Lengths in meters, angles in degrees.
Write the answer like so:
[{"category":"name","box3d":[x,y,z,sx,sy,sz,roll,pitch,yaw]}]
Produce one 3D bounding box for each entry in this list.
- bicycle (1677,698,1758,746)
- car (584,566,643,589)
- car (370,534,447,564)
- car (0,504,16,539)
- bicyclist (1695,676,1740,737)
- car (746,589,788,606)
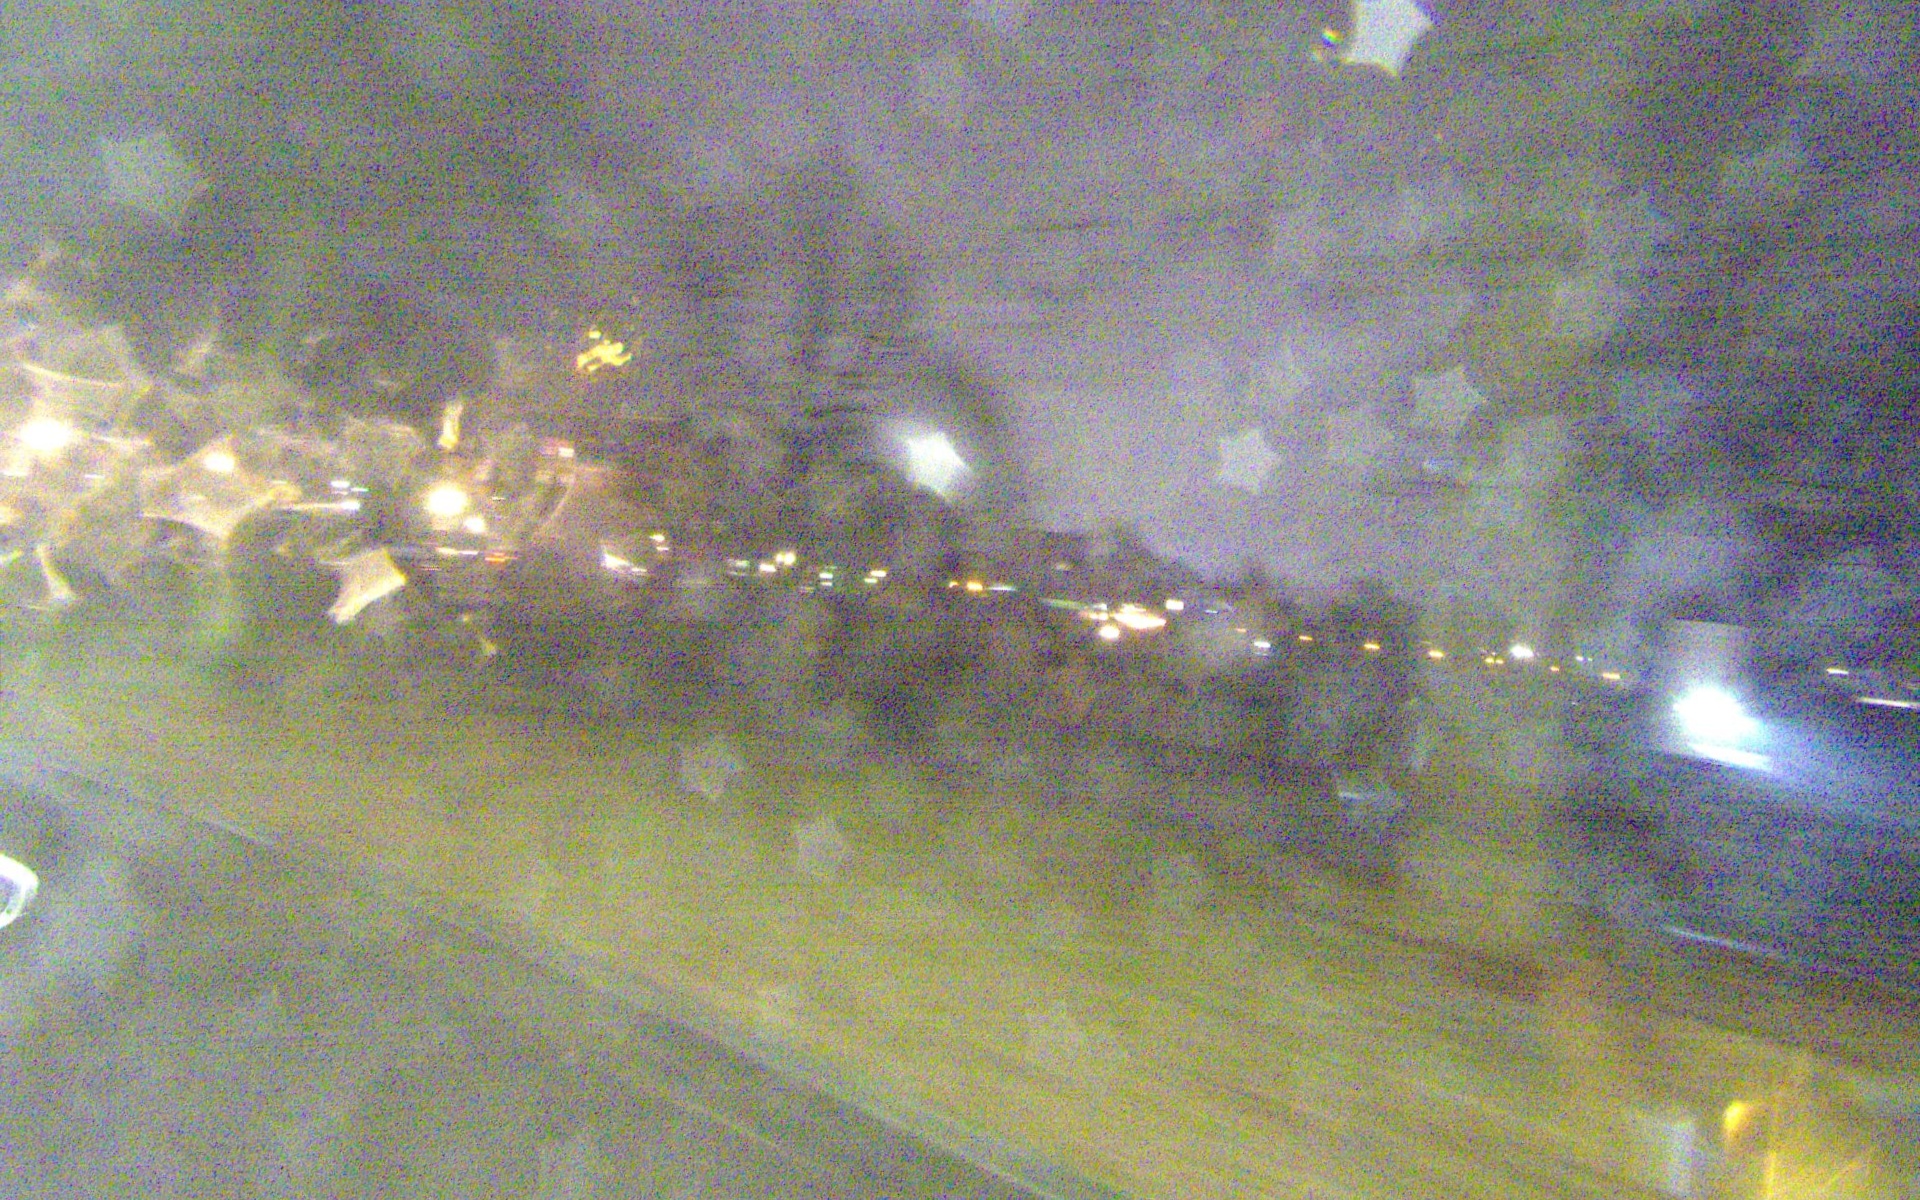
[{"category":"bicycle","box3d":[19.236,3.080,25.613,0.609,0.988,2.424,6,-2,12]},{"category":"car","box3d":[-31.351,-2.024,90.929,4.902,1.555,1.722,6,-1,19]},{"category":"car","box3d":[-38.364,-3.530,69.967,4.902,1.555,1.722,6,-1,19]},{"category":"car","box3d":[-46.199,-3.842,46.761,3.839,1.555,1.722,6,-1,19]},{"category":"bicyclist","box3d":[19.308,2.695,25.637,0.605,1.464,0.606,6,0,12]},{"category":"car","box3d":[-21.101,-0.275,110.104,4.072,1.391,1.722,6,-1,19]}]
